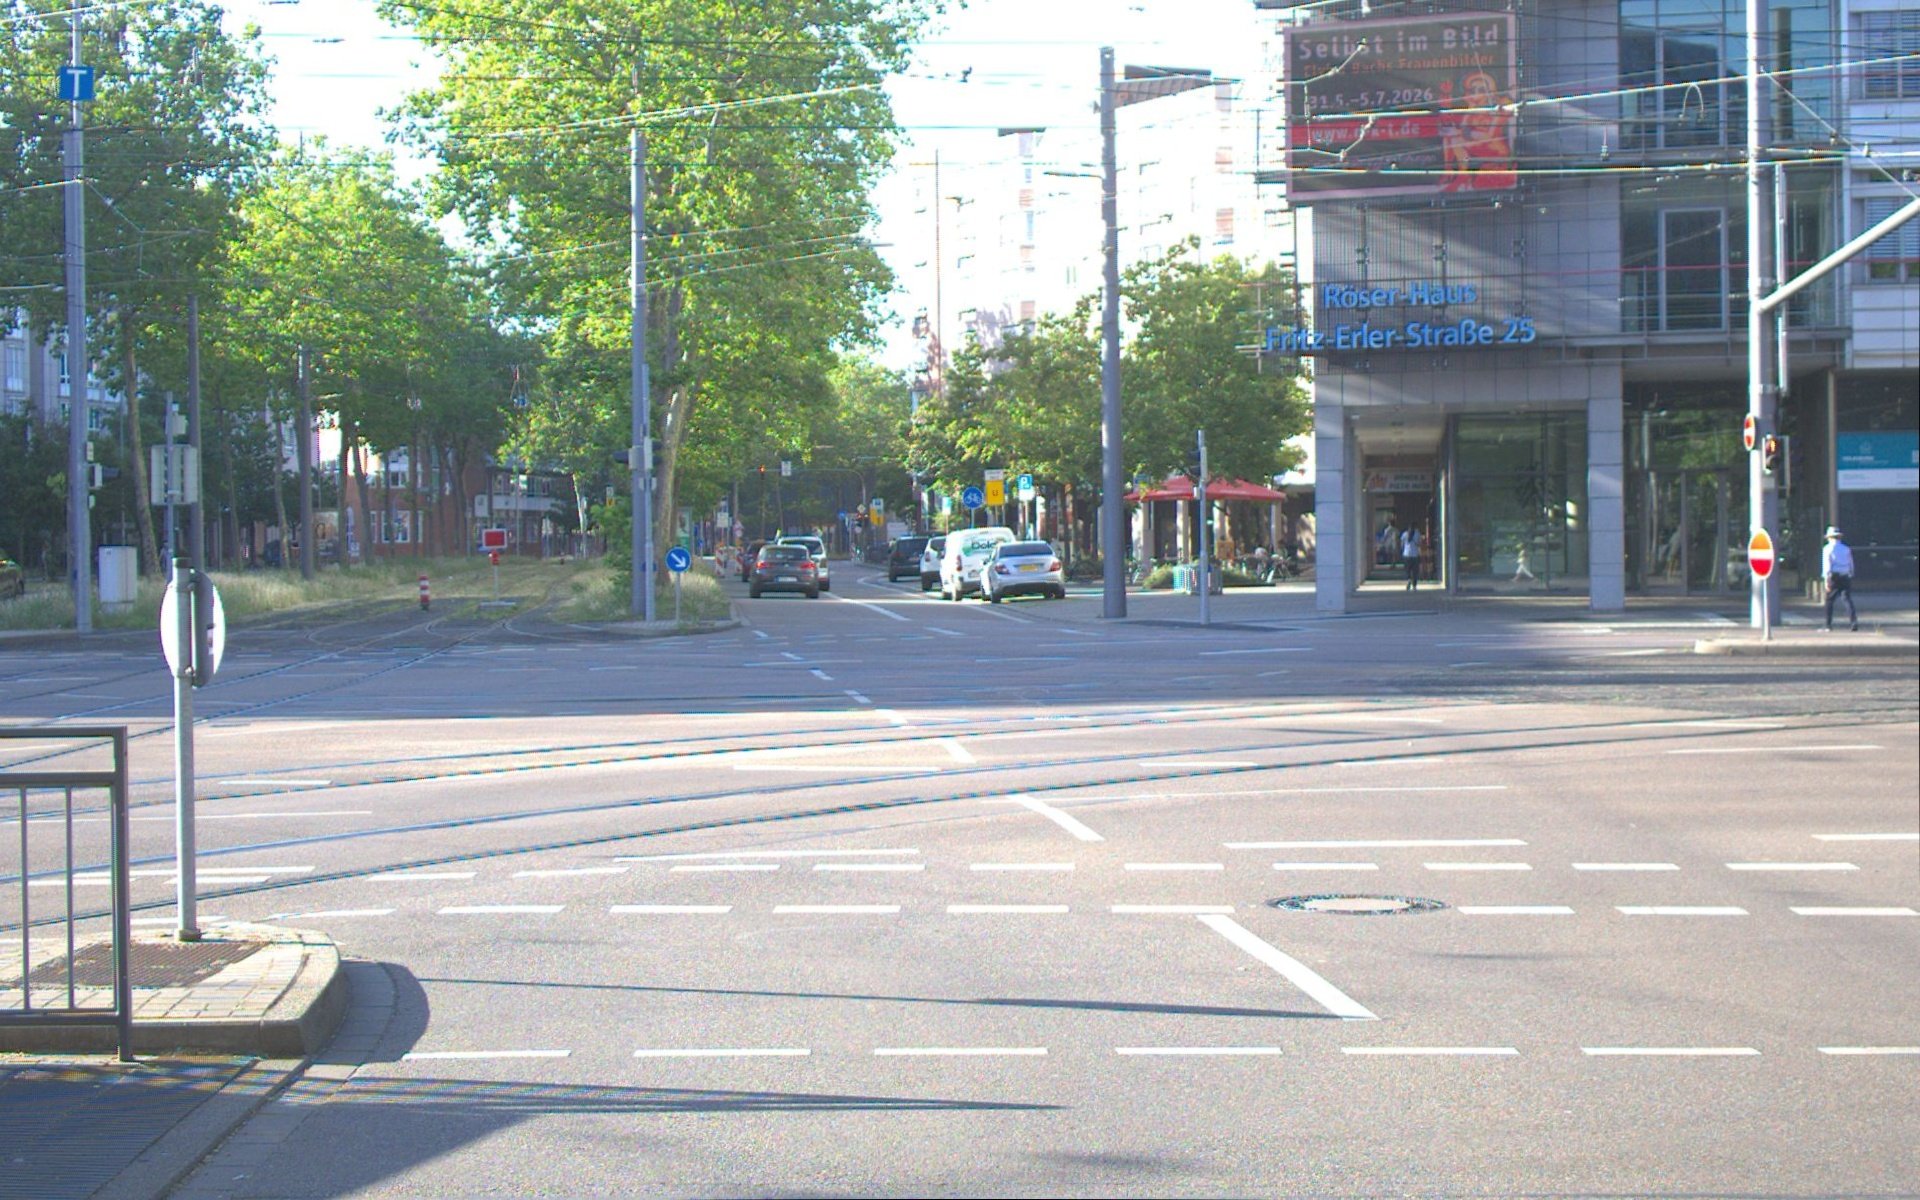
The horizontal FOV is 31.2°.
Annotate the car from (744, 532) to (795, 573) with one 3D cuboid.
[{"bbox_3d":[-6.985,-1.737,126.326,1.797,1.437,4.000,1,1,-2],"label":"car"}]

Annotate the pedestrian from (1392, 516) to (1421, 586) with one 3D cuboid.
[{"bbox_3d":[9.759,-1.075,75.168,0.612,1.502,0.579,-1,1,7],"label":"pedestrian"}]

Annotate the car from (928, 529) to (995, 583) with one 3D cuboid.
[{"bbox_3d":[0.034,-1.357,105.207,1.993,1.612,4.000,-1,1,0],"label":"car"}]

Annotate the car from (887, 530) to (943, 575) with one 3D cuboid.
[{"bbox_3d":[-1.642,-1.771,126.656,1.993,1.612,4.000,-1,1,0],"label":"car"}]

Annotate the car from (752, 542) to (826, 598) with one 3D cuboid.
[{"bbox_3d":[-4.562,-0.819,92.124,1.797,1.437,4.000,-1,1,-1],"label":"car"}]

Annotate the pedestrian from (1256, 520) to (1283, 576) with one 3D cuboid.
[{"bbox_3d":[9.437,-1.581,104.894,0.744,1.708,0.612,-1,1,-1],"label":"pedestrian"}]

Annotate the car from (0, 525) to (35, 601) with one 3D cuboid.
[{"bbox_3d":[-21.666,-0.797,74.914,1.993,1.634,4.000,-1,1,-1],"label":"car"}]

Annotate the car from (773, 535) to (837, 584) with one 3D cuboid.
[{"bbox_3d":[-4.670,-1.221,104.120,1.797,1.437,4.000,1,1,-1],"label":"car"}]

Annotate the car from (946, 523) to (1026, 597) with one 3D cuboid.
[{"bbox_3d":[0.648,-1.050,89.562,1.993,1.853,4.000,-1,1,-1],"label":"car"}]

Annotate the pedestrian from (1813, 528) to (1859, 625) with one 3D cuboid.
[{"bbox_3d":[13.718,-0.369,53.827,0.612,1.502,0.579,-1,1,7],"label":"pedestrian"}]

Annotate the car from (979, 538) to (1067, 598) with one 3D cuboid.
[{"bbox_3d":[1.491,-0.784,82.766,1.993,1.371,4.000,-1,1,-1],"label":"car"}]

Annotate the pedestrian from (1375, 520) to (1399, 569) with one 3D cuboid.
[{"bbox_3d":[15.163,-1.978,121.979,0.744,1.708,0.612,-1,1,-1],"label":"pedestrian"}]
